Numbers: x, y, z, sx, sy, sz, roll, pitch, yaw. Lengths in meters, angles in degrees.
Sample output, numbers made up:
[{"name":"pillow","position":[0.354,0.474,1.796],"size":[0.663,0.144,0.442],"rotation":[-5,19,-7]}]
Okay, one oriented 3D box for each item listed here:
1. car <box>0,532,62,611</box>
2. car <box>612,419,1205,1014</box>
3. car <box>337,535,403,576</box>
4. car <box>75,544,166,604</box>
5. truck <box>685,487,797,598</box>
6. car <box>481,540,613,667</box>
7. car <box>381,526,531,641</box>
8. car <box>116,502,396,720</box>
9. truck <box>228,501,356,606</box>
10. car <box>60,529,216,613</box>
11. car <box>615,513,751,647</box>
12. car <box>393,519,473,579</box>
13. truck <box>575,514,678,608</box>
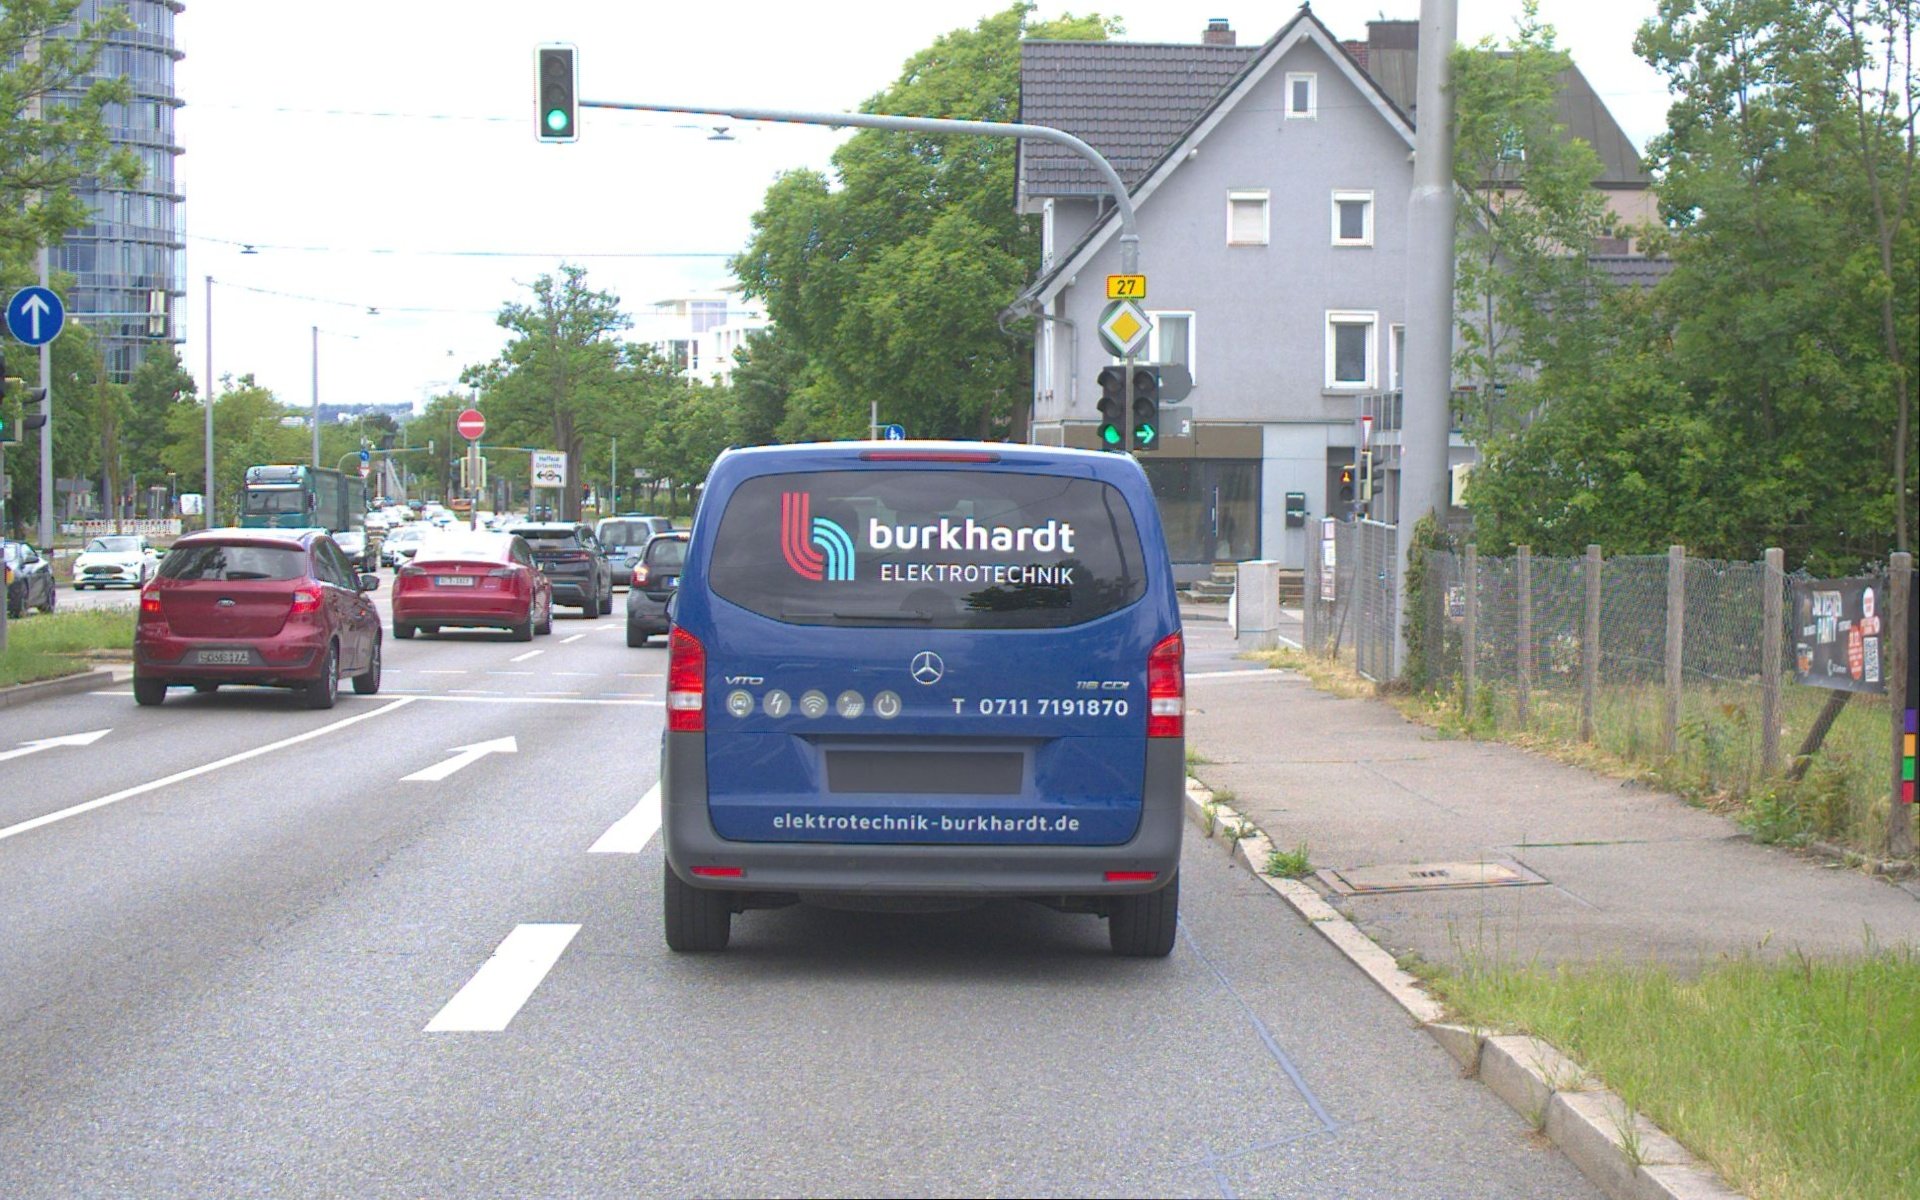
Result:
[{"name":"car","position":[-17.927,-0.523,63.451],"size":[1.813,1.393,5.012],"rotation":[-1,1,-5]},{"name":"car","position":[-0.292,0.357,13.758],"size":[1.947,1.959,4.542],"rotation":[1,1,-3]},{"name":"car","position":[-20.891,-1.584,121.746],"size":[1.797,1.412,4.001],"rotation":[0,1,-2]},{"name":"car","position":[-22.980,-0.733,94.249],"size":[1.732,1.568,4.507],"rotation":[0,1,-5]},{"name":"truck","position":[-4.526,-1.200,71.743],"size":[1.993,2.158,5.560],"rotation":[2,1,-1]},{"name":"car","position":[-7.175,0.030,59.451],"size":[1.993,2.006,4.002],"rotation":[1,2,-10]},{"name":"car","position":[-6.894,-0.236,46.731],"size":[1.868,1.481,4.001],"rotation":[-1,1,-10]},{"name":"car","position":[-6.148,0.046,30.430],"size":[1.746,1.717,4.001],"rotation":[3,1,-3]},{"name":"truck","position":[-25.105,-1.759,129.735],"size":[3.367,3.714,11.282],"rotation":[1,1,-4]},{"name":"car","position":[-15.908,-0.580,66.751],"size":[1.993,1.568,4.516],"rotation":[0,1,-1]},{"name":"car","position":[-3.706,-0.306,46.136],"size":[1.746,1.717,4.001],"rotation":[0,1,-4]},{"name":"car","position":[-18.182,-1.771,118.788],"size":[1.993,2.007,4.179],"rotation":[0,1,2]},{"name":"truck","position":[-8.118,-0.975,84.148],"size":[1.993,2.158,5.560],"rotation":[2,1,-1]}]
